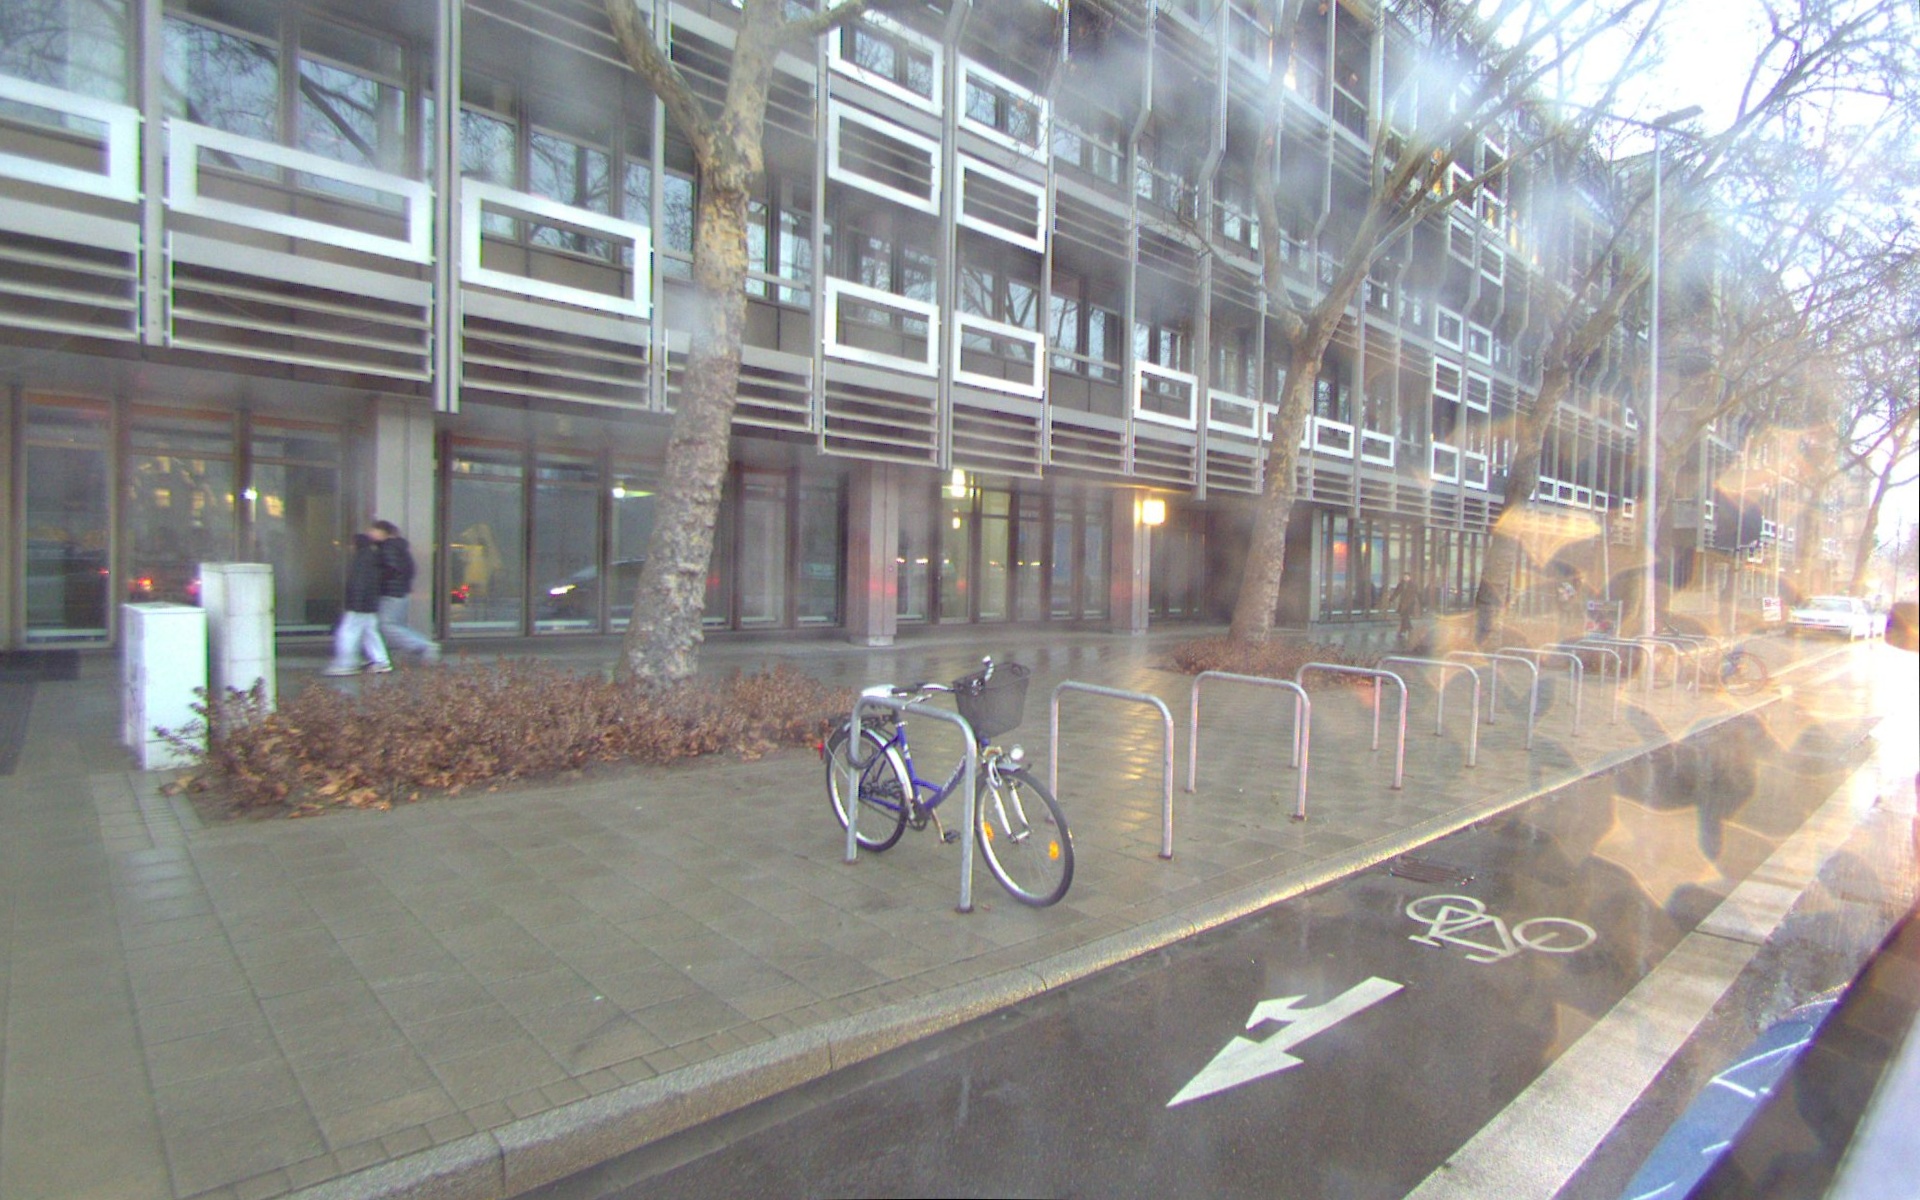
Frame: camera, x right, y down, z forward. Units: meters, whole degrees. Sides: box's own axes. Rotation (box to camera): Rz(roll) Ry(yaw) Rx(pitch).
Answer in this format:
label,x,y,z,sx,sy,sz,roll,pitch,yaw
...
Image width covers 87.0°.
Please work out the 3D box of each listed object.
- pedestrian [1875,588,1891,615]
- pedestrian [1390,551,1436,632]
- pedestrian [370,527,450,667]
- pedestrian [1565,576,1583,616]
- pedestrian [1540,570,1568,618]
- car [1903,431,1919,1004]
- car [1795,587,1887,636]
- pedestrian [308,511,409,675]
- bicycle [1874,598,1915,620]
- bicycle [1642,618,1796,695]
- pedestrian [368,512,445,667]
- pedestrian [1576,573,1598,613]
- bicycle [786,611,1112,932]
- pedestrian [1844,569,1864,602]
label,x,y,z,sx,sy,sz,roll,pitch,yaw
pedestrian,68.791,0.104,75.433,0.758,2.039,0.837,-1,0,-42
pedestrian,11.610,-0.229,25.919,0.723,2.039,0.821,0,1,-43
pedestrian,-6.475,-0.045,11.924,0.733,1.583,0.484,0,1,-42
pedestrian,21.610,-0.143,35.625,0.490,1.386,0.497,2,1,31
pedestrian,21.230,-0.221,36.149,0.767,1.677,0.617,0,1,-41
car,5.484,0.431,4.204,3.930,2.039,1.858,0,1,-41
car,29.410,0.330,33.747,3.859,1.449,1.609,0,4,-39
pedestrian,-6.433,-0.082,10.833,0.858,1.689,0.501,0,2,-41
bicycle,46.972,0.442,50.881,1.518,1.049,0.462,0,1,42
bicycle,11.636,0.842,15.563,0.607,0.986,1.789,0,3,-45
pedestrian,-6.251,-0.124,11.436,0.701,1.689,0.379,0,1,-41
pedestrian,26.404,-0.295,42.637,0.639,1.675,0.830,2,1,41
bicycle,-0.131,0.699,4.836,0.428,1.162,1.752,0,4,-44
pedestrian,55.070,-0.893,62.331,1.007,2.039,0.790,0,1,-41
